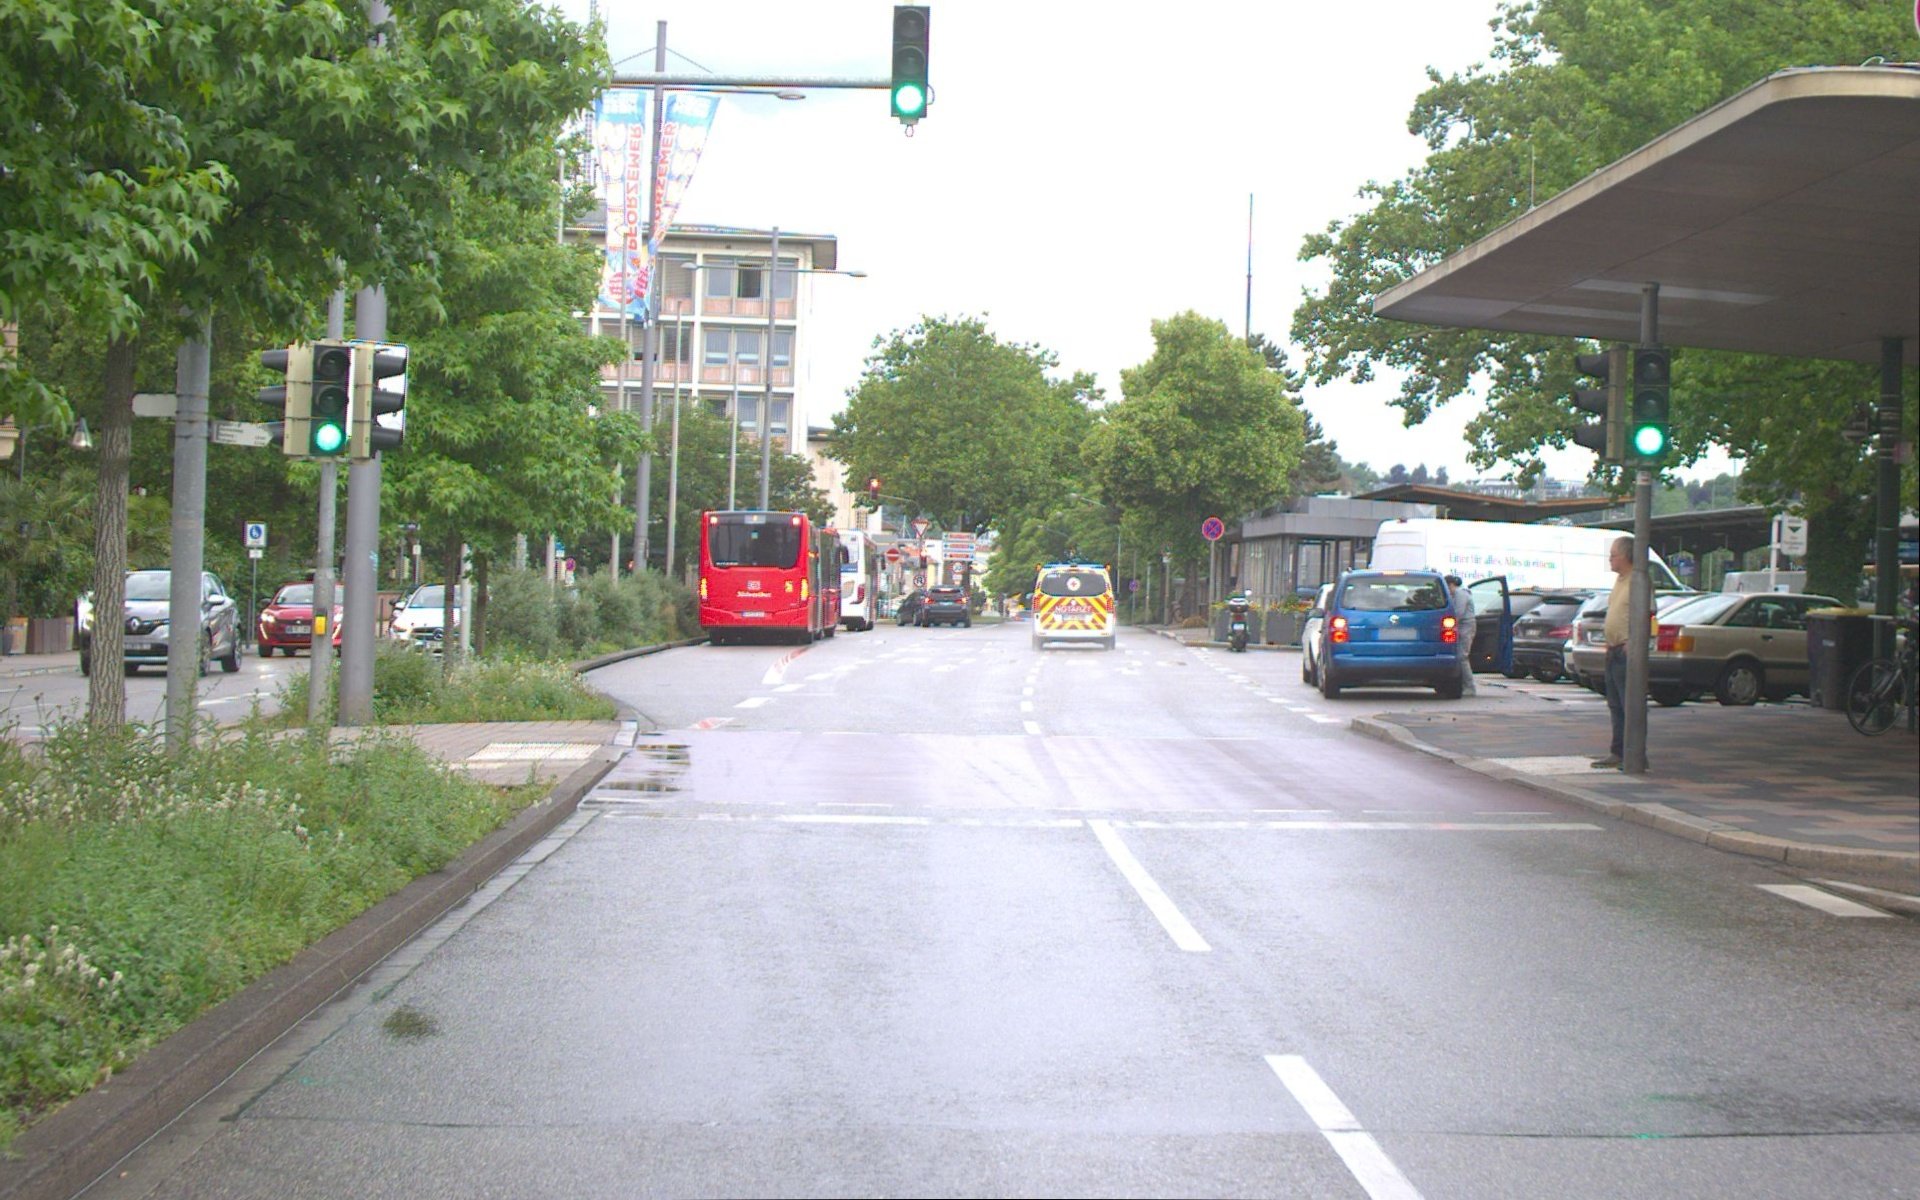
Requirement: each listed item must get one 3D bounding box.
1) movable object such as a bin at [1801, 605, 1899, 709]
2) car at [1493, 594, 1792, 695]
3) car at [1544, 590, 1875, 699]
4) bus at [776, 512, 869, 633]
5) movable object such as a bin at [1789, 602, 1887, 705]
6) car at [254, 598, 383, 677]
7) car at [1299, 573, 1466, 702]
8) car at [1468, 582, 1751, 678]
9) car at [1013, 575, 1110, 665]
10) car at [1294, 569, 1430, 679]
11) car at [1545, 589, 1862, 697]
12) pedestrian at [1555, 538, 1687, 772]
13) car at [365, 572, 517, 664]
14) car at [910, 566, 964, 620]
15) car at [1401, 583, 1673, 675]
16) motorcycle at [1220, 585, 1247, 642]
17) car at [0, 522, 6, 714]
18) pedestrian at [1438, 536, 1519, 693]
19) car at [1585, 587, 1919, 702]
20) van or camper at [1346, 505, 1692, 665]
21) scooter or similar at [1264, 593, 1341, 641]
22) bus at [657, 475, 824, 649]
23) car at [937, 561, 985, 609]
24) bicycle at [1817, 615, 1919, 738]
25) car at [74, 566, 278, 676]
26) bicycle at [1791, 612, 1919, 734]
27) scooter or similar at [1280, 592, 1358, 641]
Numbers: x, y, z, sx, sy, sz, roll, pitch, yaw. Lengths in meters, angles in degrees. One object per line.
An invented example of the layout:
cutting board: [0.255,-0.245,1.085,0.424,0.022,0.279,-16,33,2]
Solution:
movable object such as a bin: [9.349,0.593,36.133,0.751,1.063,0.749,-1,0,-9]
car: [10.027,0.646,50.498,3.986,1.438,1.865,1,0,-27]
car: [9.749,0.569,44.675,3.987,1.354,1.865,1,0,-31]
bus: [-4.498,-0.883,112.487,2.805,3.734,10.446,1,0,-2]
movable object such as a bin: [9.482,0.574,37.135,0.751,1.091,0.749,-1,0,-12]
car: [-12.247,0.699,65.863,1.747,1.425,3.953,-1,0,0]
car: [5.368,0.463,44.110,1.859,1.564,3.999,1,0,3]
car: [10.064,0.469,53.224,3.986,1.438,1.865,1,0,-27]
car: [2.307,0.440,79.483,1.993,2.007,5.062,-1,0,-1]
car: [5.816,0.342,50.069,1.788,1.517,3.681,1,0,4]
car: [10.249,0.594,47.382,3.986,1.438,1.865,1,0,-27]
pedestrian: [4.990,0.411,25.983,0.746,1.741,0.836,0,0,-9]
car: [-9.103,0.298,60.637,1.993,1.538,4.633,-1,0,0]
car: [-0.877,-0.287,131.809,1.993,2.007,4.000,-1,0,0]
car: [9.303,0.467,55.420,3.986,1.438,1.865,1,0,-27]
motorcycle: [6.227,0.304,78.347,0.595,1.284,1.953,0,1,5]
car: [-11.070,0.209,33.634,1.993,2.007,5.001,-1,0,1]
pedestrian: [6.712,0.185,44.528,0.831,2.007,0.889,-1,0,-5]
car: [9.770,0.527,41.009,4.184,1.321,1.841,1,0,-20]
van or camper: [10.015,-0.288,61.472,5.946,2.753,2.199,-1,0,-27]
scooter or similar: [8.084,0.384,81.070,2.145,1.106,0.427,-1,1,-40]
bus: [-5.273,-0.897,84.692,3.544,3.966,11.172,-1,0,-1]
car: [0.023,-0.639,147.233,1.993,2.007,4.000,-1,0,0]
bicycle: [8.447,0.658,30.216,1.827,1.052,0.420,-1,0,-18]
car: [-11.608,0.284,51.202,1.993,1.538,4.633,-1,0,0]
bicycle: [8.330,0.639,30.664,1.827,1.052,0.420,-1,0,-18]
scooter or similar: [8.432,0.379,80.705,2.145,1.106,0.443,-1,1,-40]
